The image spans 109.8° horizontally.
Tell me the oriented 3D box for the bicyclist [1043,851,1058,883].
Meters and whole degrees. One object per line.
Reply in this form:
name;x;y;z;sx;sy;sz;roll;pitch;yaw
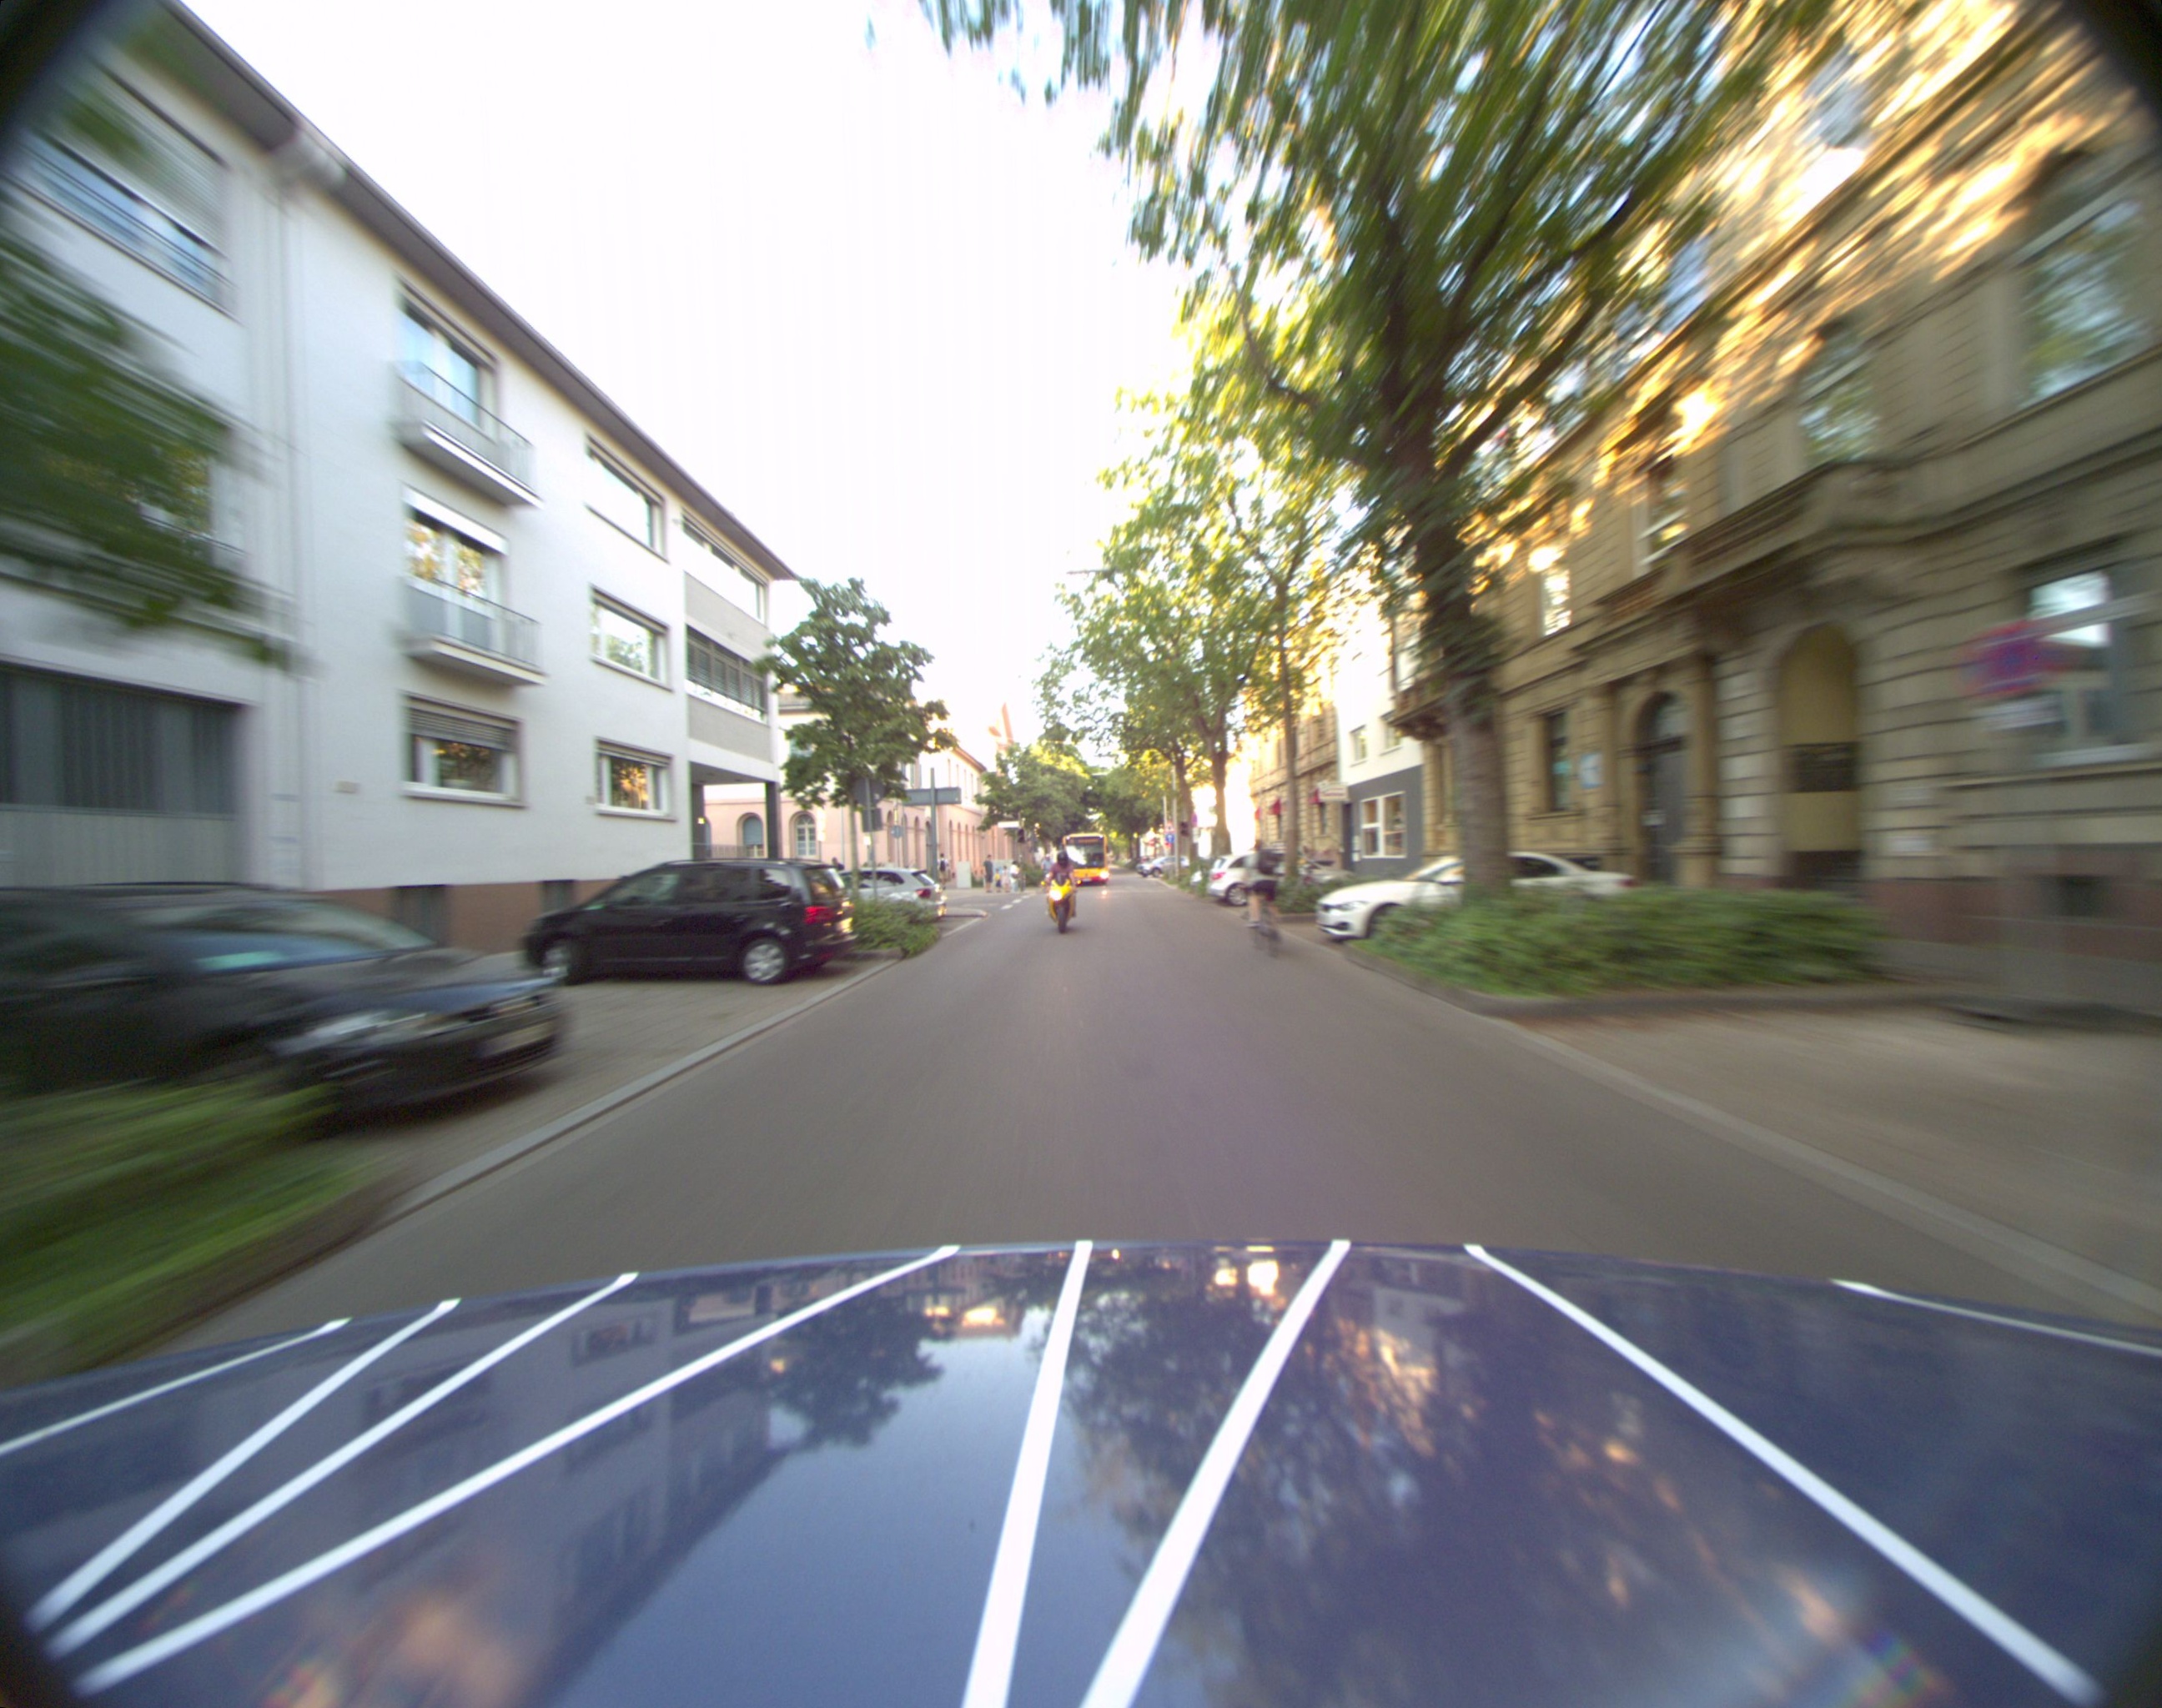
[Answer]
bicyclist;-1.530;0.660;38.004;0.637;1.552;0.819;-4;0;0

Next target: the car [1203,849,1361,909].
car;5.790;0.715;22.332;4.179;1.548;1.827;-2;0;4

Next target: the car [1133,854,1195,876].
car;6.411;0.803;58.566;4.365;1.561;1.944;-2;1;-26

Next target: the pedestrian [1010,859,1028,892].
pedestrian;-2.889;0.996;35.155;0.600;1.502;0.719;0;1;-27

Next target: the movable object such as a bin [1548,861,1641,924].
movable object such as a bin;9.548;0.691;14.175;0.802;1.055;1.317;-4;0;1

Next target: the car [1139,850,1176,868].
car;8.892;0.587;88.582;3.999;1.940;1.999;-2;0;-6

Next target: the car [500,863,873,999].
car;-5.275;0.995;10.579;4.119;1.608;1.961;-2;0;3

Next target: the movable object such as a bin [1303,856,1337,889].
movable object such as a bin;8.242;0.627;26.232;0.776;1.055;1.317;-2;0;1

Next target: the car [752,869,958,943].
car;-4.930;1.119;16.958;3.996;1.429;1.794;-2;0;3

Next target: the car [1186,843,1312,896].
car;6.511;0.599;29.833;4.436;1.712;1.890;-4;0;0

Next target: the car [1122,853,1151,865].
car;7.991;0.709;109.516;3.999;1.699;1.844;-2;0;-6

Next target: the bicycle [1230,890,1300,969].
bicycle;2.690;1.077;11.293;0.673;0.988;1.759;-1;0;3

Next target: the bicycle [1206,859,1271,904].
bicycle;4.945;0.863;23.921;1.799;1.319;0.774;-2;0;-4

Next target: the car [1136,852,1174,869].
car;8.401;0.706;86.118;3.999;1.801;1.799;-2;0;-6

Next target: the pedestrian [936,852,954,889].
pedestrian;-6.943;0.829;38.720;0.699;1.844;1.049;0;0;1

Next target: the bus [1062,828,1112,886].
bus;0.522;0.140;49.359;2.668;3.176;11.899;-3;0;2

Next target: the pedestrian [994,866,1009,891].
pedestrian;-3.826;1.177;36.618;0.491;1.138;0.547;1;1;39

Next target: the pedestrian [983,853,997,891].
pedestrian;-4.342;0.860;36.217;0.544;1.764;0.576;0;1;3

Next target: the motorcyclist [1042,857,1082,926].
motorcyclist;-0.395;0.778;16.170;0.737;1.404;0.726;-3;0;3

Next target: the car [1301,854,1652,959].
car;6.020;0.773;12.044;4.523;1.382;1.916;-2;1;3

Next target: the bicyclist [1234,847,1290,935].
bicyclist;2.673;0.535;11.276;0.673;1.256;0.648;-1;0;3

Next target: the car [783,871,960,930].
car;-5.333;1.176;19.657;3.995;1.325;1.795;-2;0;5

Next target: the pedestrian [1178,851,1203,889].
pedestrian;5.212;0.765;36.099;0.833;1.767;0.764;-3;1;-38

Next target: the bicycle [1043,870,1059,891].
bicycle;-1.485;1.312;37.993;0.637;0.977;1.981;-4;0;0

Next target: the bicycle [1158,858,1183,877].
bicycle;6.038;0.909;51.226;0.805;1.217;2.422;-6;-3;26

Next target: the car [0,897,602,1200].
car;-5.841;1.090;4.923;4.325;1.487;1.794;0;1;1

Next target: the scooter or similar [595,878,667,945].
scooter or similar;-9.079;1.137;15.380;0.346;1.232;1.422;-2;0;12

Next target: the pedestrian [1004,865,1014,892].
pedestrian;-3.428;1.154;35.987;0.451;1.254;0.490;0;1;-4

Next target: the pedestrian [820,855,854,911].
pedestrian;-8.064;0.946;25.184;0.699;1.785;1.066;-1;0;3

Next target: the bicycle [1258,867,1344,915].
bicycle;5.112;0.867;17.737;1.798;1.003;0.598;-3;1;2

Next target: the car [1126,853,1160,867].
car;8.051;0.740;98.428;3.999;1.699;1.999;-2;0;-6

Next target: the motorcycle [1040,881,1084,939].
motorcycle;-0.383;1.159;16.169;0.737;1.053;1.964;-3;0;3

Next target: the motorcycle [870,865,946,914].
motorcycle;-5.078;1.041;22.390;1.910;1.384;1.001;-1;1;15
